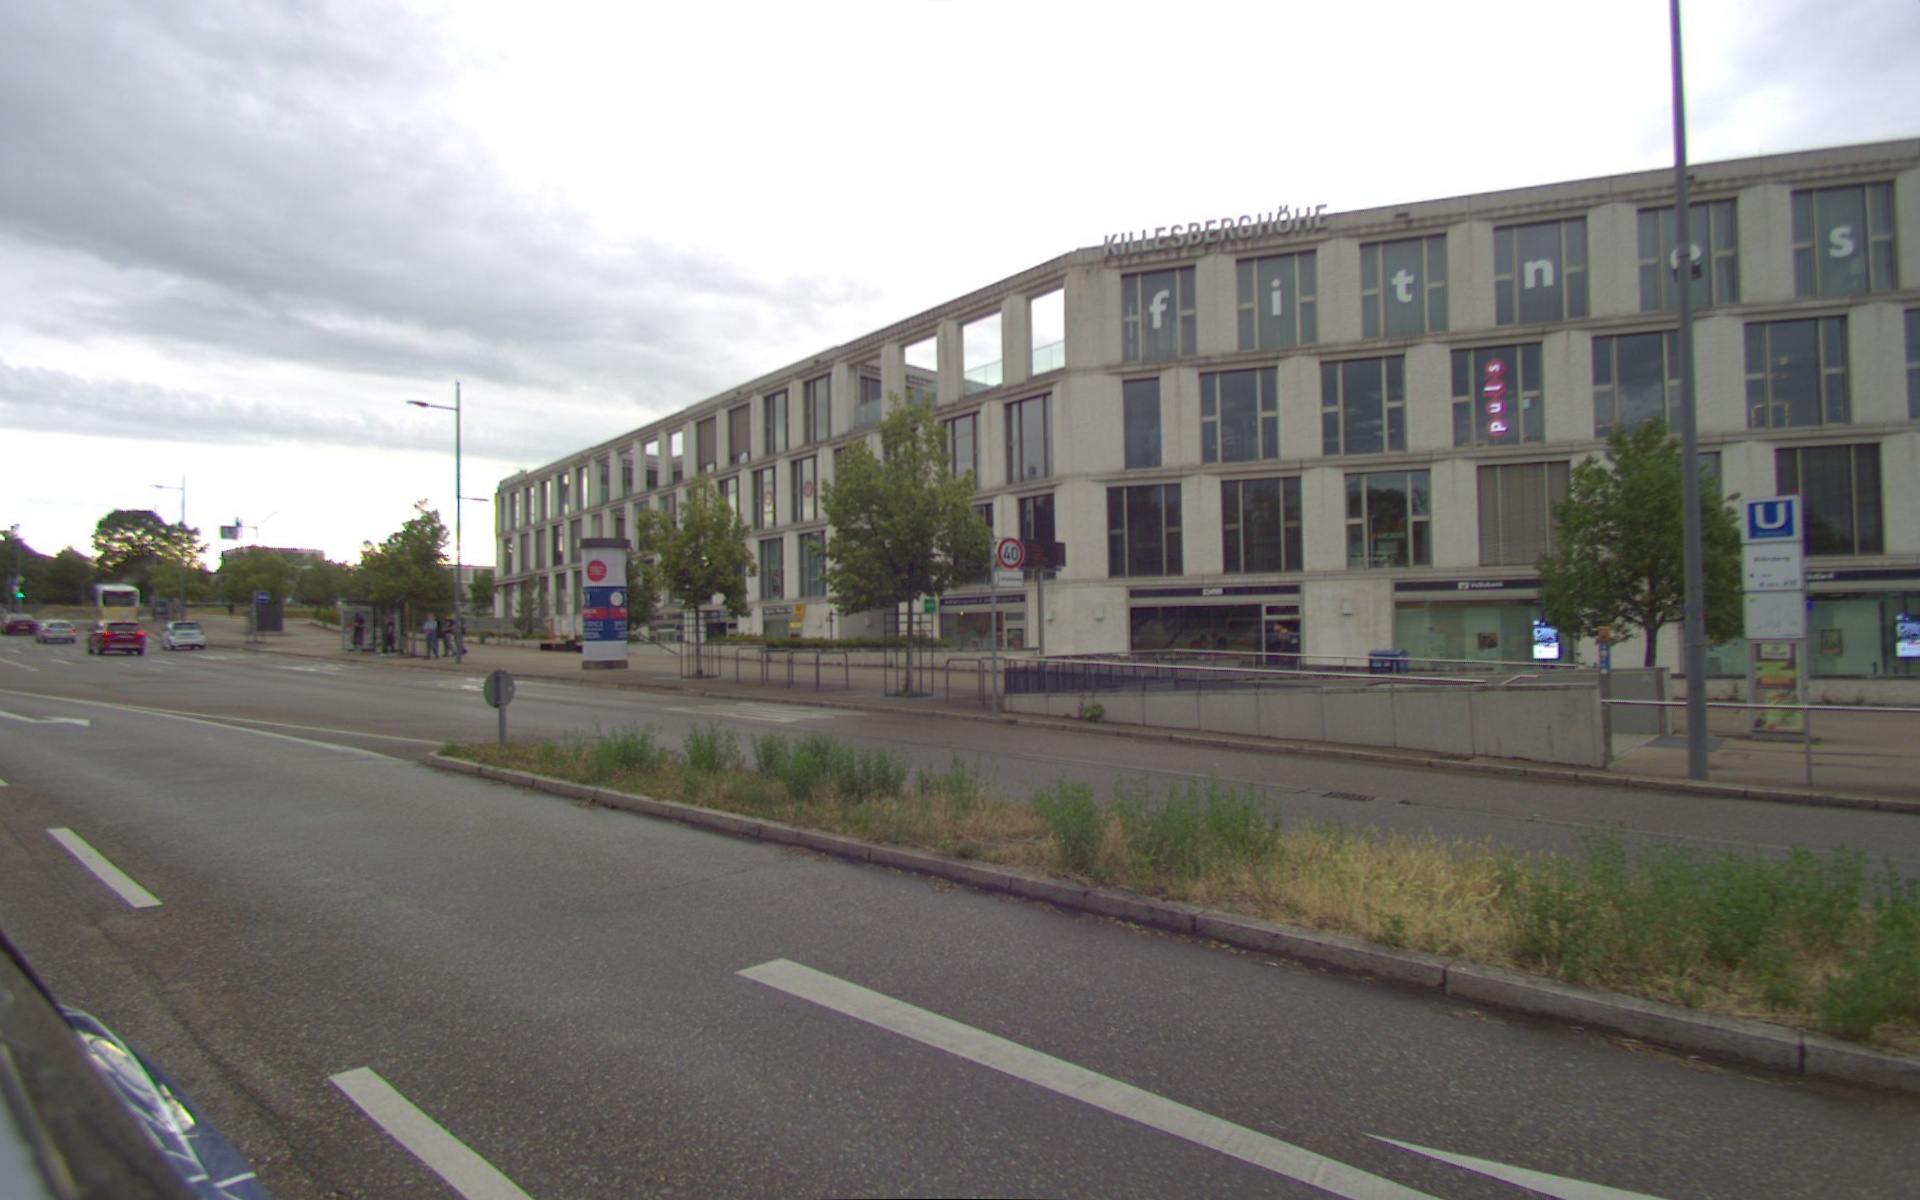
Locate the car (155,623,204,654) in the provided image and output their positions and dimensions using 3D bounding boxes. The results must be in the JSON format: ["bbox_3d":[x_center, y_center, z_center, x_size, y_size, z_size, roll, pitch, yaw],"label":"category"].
[{"bbox_3d":[-42.994,2.096,55.717,2.971,1.519,1.597,0,1,41],"label":"car"}]

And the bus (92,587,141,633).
[{"bbox_3d":[-69.207,0.713,82.972,2.787,3.498,8.243,-1,2,-41],"label":"bus"}]

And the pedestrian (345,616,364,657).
[{"bbox_3d":[-27.422,1.650,45.835,0.755,1.856,0.502,-1,-1,40],"label":"pedestrian"}]

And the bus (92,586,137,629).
[{"bbox_3d":[-75.167,0.548,89.853,2.787,3.498,9.988,-1,2,-41],"label":"bus"}]

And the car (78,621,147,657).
[{"bbox_3d":[-41.644,1.910,49.715,4.735,1.696,1.834,-1,-4,41],"label":"car"}]

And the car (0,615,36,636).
[{"bbox_3d":[-67.924,1.858,72.675,4.463,1.427,1.812,-1,-4,41],"label":"car"}]

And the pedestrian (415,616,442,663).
[{"bbox_3d":[-21.154,1.564,40.300,0.746,1.856,0.745,-1,-1,43],"label":"pedestrian"}]

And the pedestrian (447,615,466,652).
[{"bbox_3d":[-24.198,1.600,48.642,0.857,1.775,0.592,-1,-1,44],"label":"pedestrian"}]

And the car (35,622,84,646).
[{"bbox_3d":[-56.089,2.128,63.005,3.877,1.427,1.744,-1,-4,41],"label":"car"}]

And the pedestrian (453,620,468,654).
[{"bbox_3d":[-21.829,1.610,44.199,0.510,1.462,0.421,-1,-1,42],"label":"pedestrian"}]
